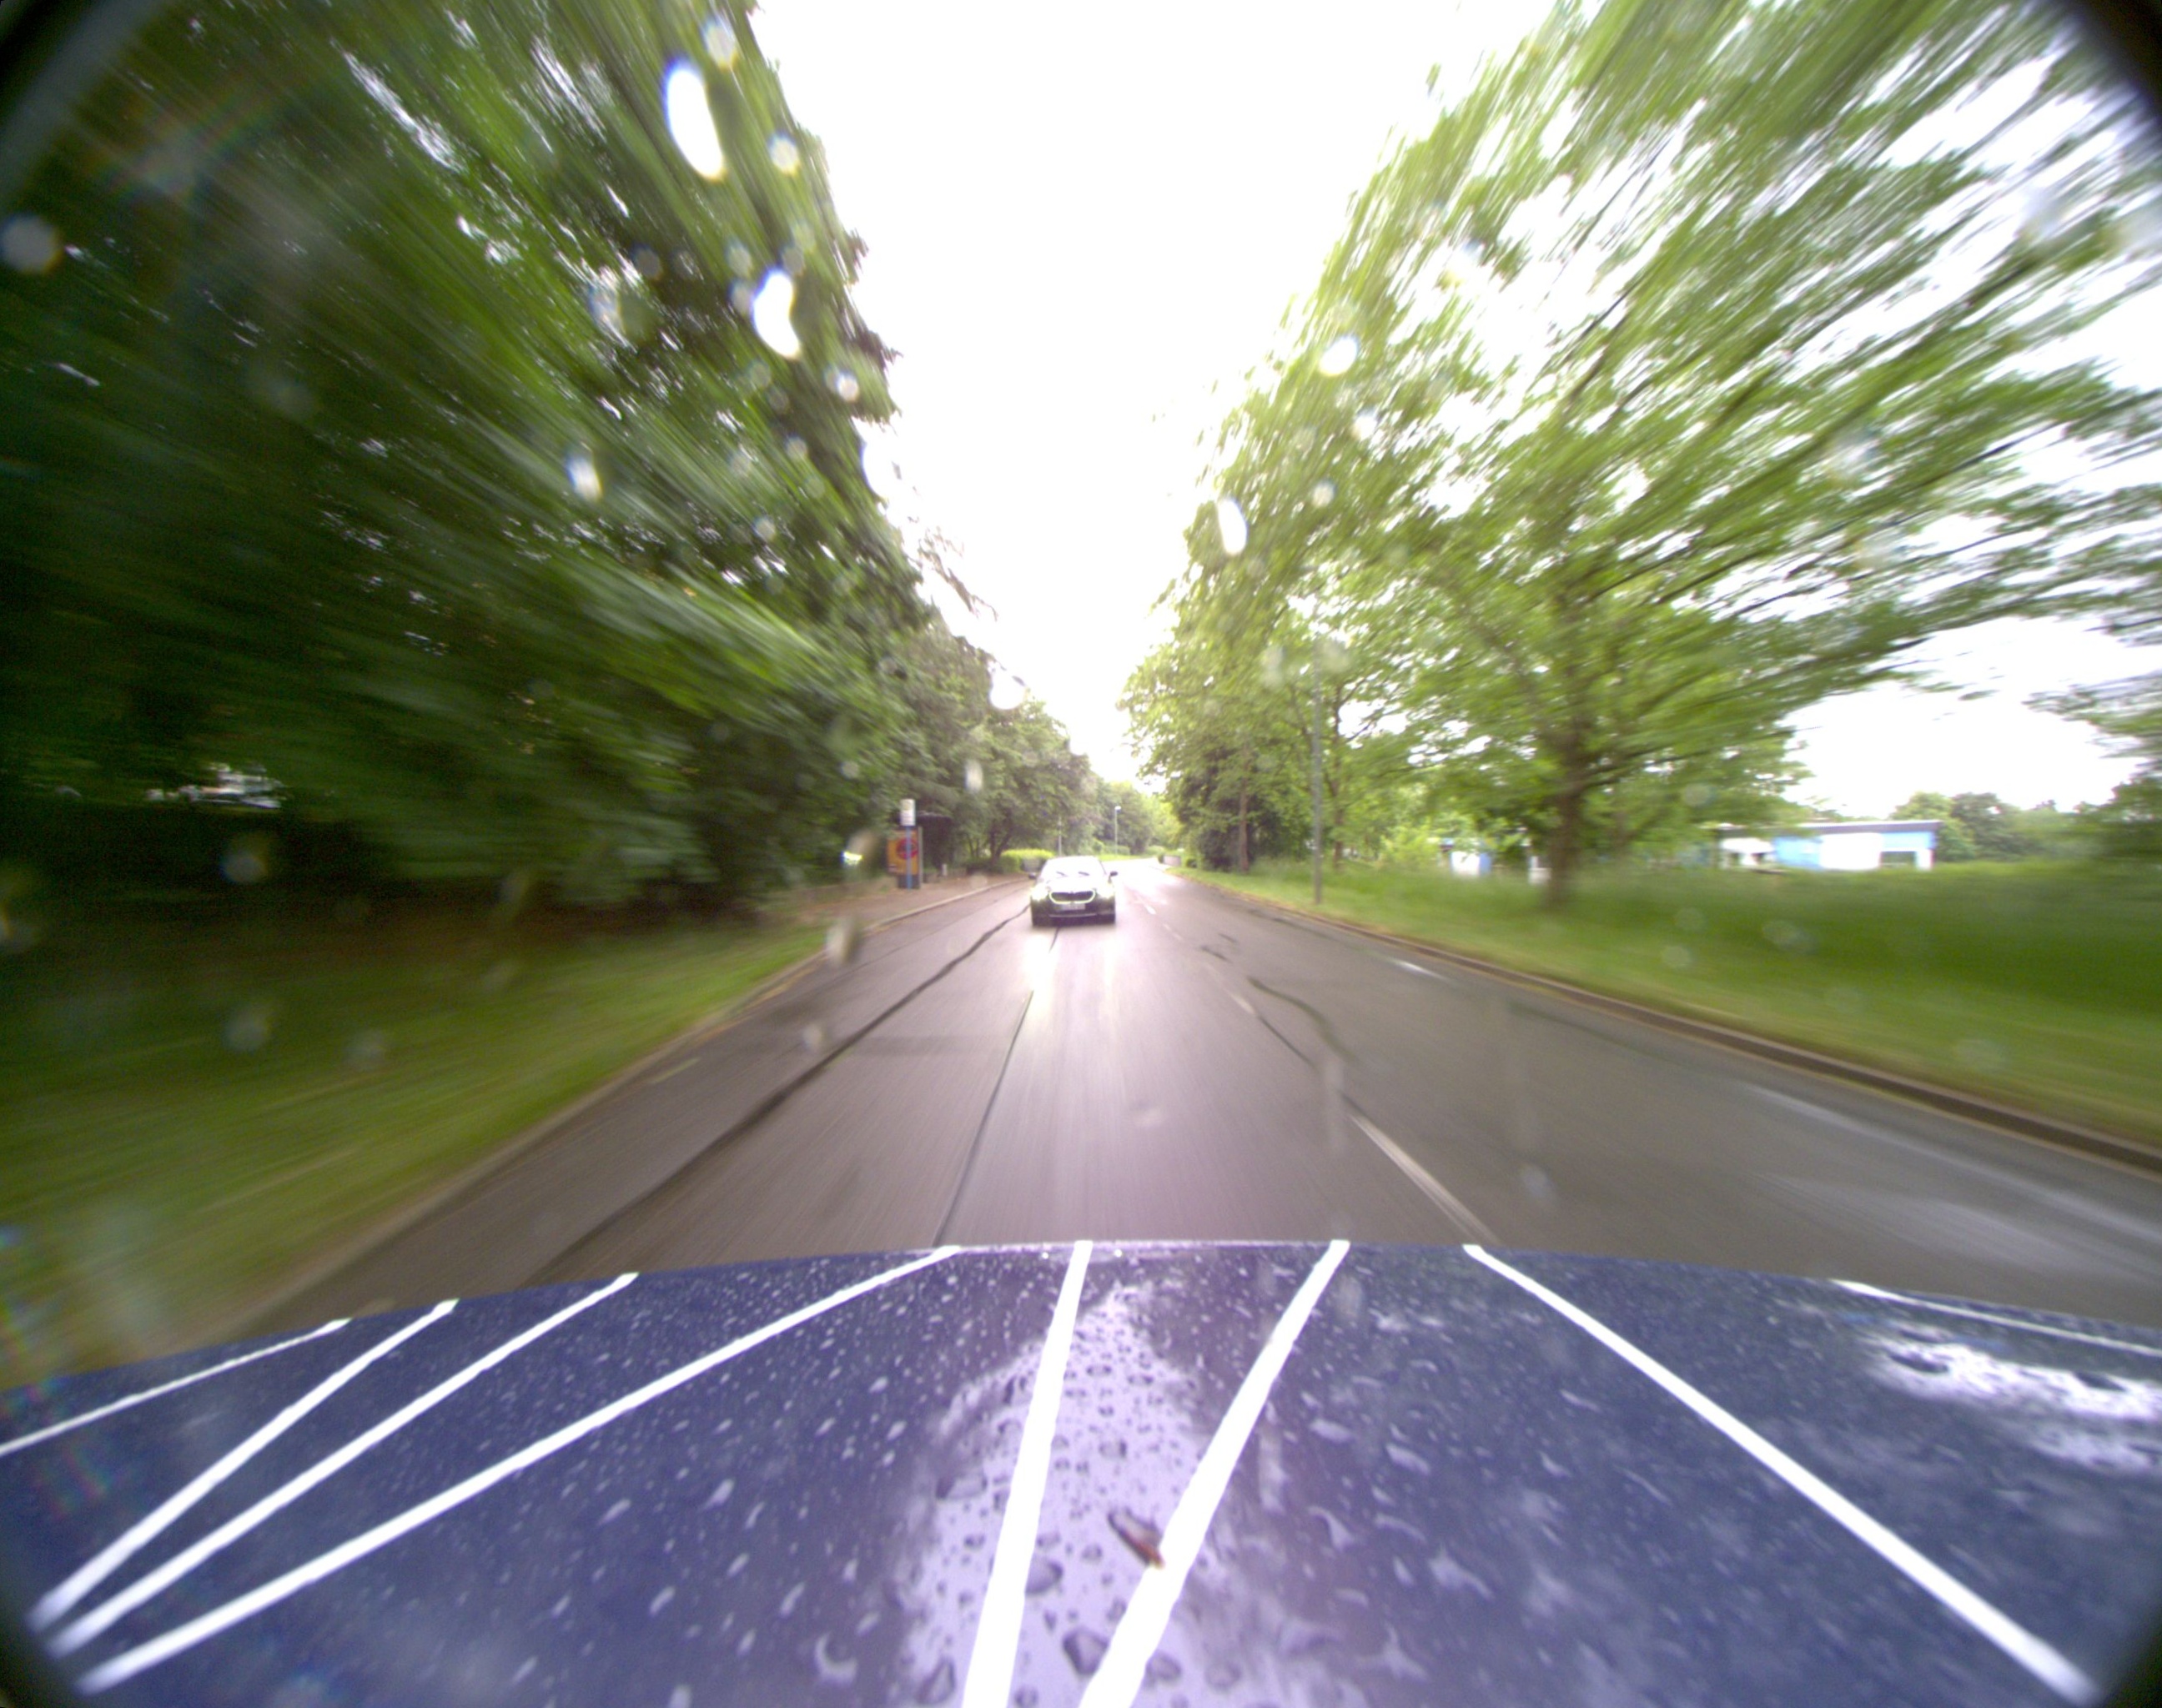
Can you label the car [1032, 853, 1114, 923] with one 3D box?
[{"bbox_3d":[-0.112,0.791,19.825,1.832,1.499,4.498,-2,1,2],"label":"car"}]
